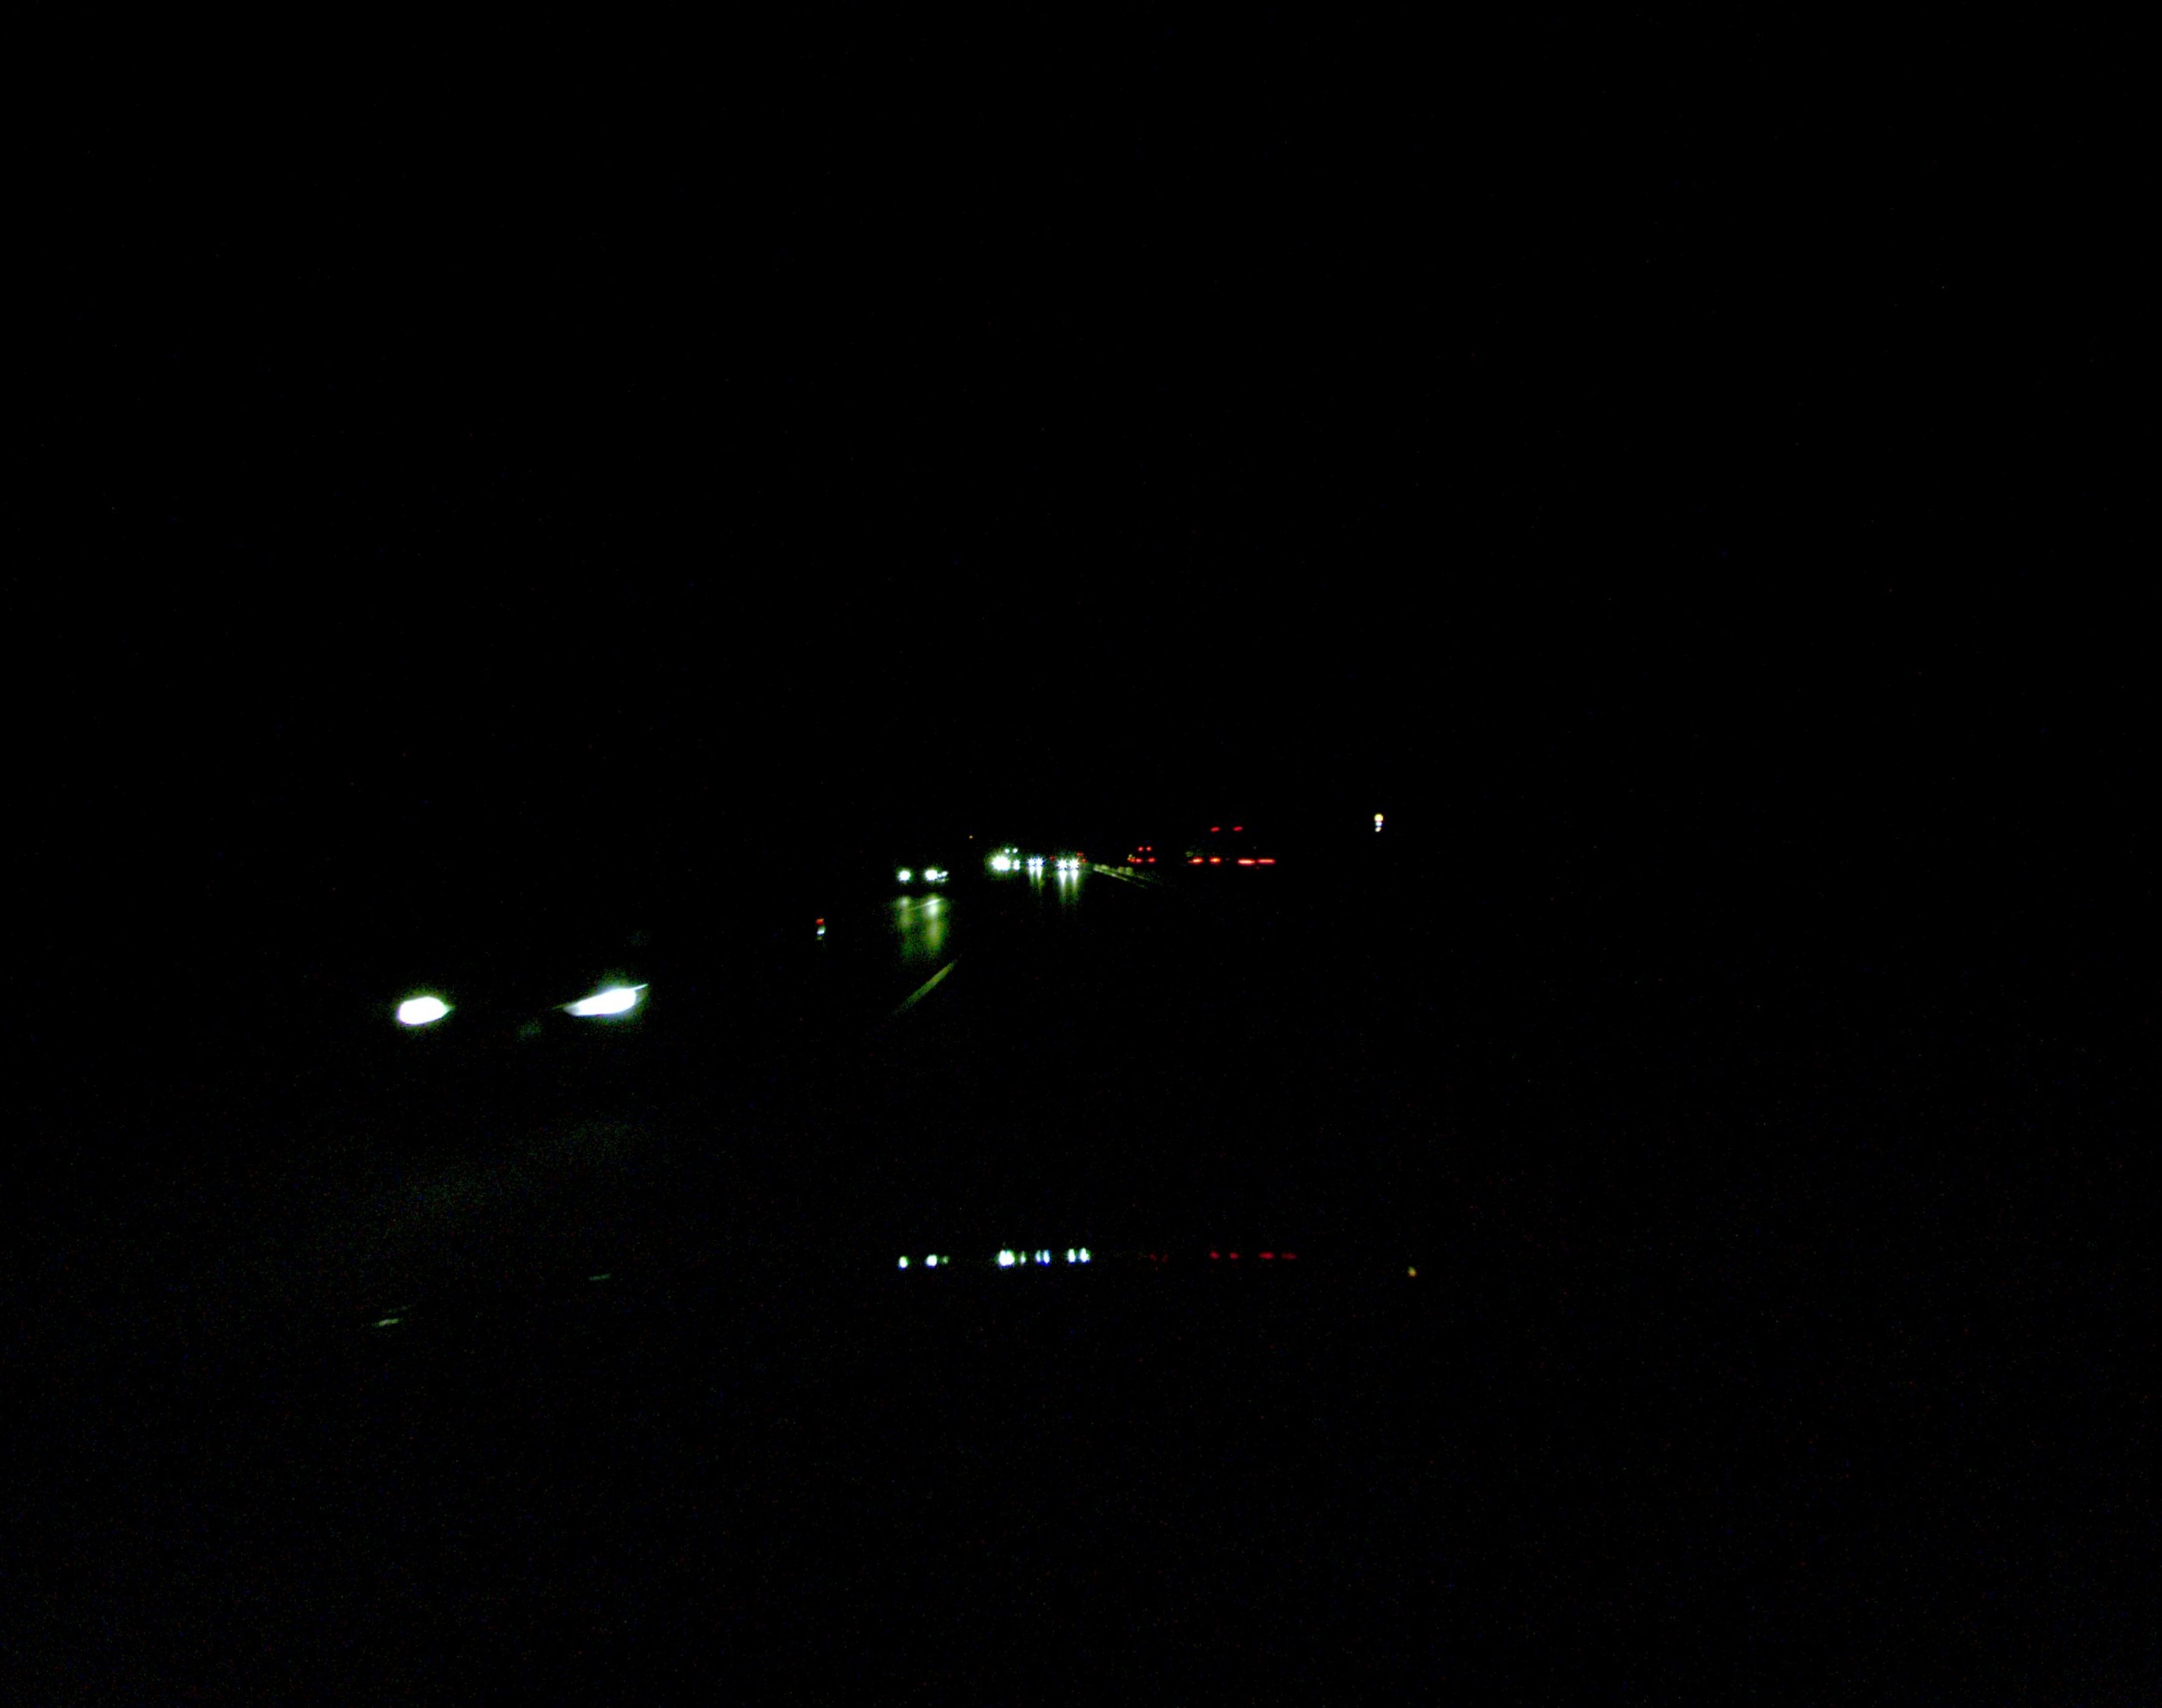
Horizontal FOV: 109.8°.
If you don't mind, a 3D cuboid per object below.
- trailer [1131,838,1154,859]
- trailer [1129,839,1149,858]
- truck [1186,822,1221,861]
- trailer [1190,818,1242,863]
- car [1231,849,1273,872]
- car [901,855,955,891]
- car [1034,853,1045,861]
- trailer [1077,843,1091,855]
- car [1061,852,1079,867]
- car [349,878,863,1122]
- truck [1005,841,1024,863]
[{"bbox_3d":[11.603,-1.006,144.515,3.065,3.667,11.684,-2,0,-1],"label":"trailer"},{"bbox_3d":[11.491,-1.047,150.899,3.065,3.668,7.227,-2,1,-1],"label":"trailer"},{"bbox_3d":[14.598,-1.471,91.143,2.860,4.408,6.395,-2,1,-1],"label":"truck"},{"bbox_3d":[14.748,-1.429,84.279,2.860,4.407,13.977,-2,0,-1],"label":"trailer"},{"bbox_3d":[11.526,0.408,51.605,1.818,1.444,4.133,-2,0,-1],"label":"car"},{"bbox_3d":[-8.082,0.959,40.514,1.999,1.707,5.166,-2,0,-3],"label":"car"},{"bbox_3d":[-8.379,0.582,153.220,1.940,1.608,3.998,-2,0,-5],"label":"car"},{"bbox_3d":[0.925,-1.775,262.168,3.447,3.983,14.752,-2,0,-5],"label":"trailer"},{"bbox_3d":[-1.310,0.607,91.269,2.012,1.652,3.999,-2,0,-1],"label":"car"},{"bbox_3d":[-3.874,1.051,7.568,1.839,1.393,5.069,-2,0,1],"label":"car"},{"bbox_3d":[-13.685,-0.386,156.066,3.348,4.408,6.988,-2,1,-7],"label":"truck"}]
